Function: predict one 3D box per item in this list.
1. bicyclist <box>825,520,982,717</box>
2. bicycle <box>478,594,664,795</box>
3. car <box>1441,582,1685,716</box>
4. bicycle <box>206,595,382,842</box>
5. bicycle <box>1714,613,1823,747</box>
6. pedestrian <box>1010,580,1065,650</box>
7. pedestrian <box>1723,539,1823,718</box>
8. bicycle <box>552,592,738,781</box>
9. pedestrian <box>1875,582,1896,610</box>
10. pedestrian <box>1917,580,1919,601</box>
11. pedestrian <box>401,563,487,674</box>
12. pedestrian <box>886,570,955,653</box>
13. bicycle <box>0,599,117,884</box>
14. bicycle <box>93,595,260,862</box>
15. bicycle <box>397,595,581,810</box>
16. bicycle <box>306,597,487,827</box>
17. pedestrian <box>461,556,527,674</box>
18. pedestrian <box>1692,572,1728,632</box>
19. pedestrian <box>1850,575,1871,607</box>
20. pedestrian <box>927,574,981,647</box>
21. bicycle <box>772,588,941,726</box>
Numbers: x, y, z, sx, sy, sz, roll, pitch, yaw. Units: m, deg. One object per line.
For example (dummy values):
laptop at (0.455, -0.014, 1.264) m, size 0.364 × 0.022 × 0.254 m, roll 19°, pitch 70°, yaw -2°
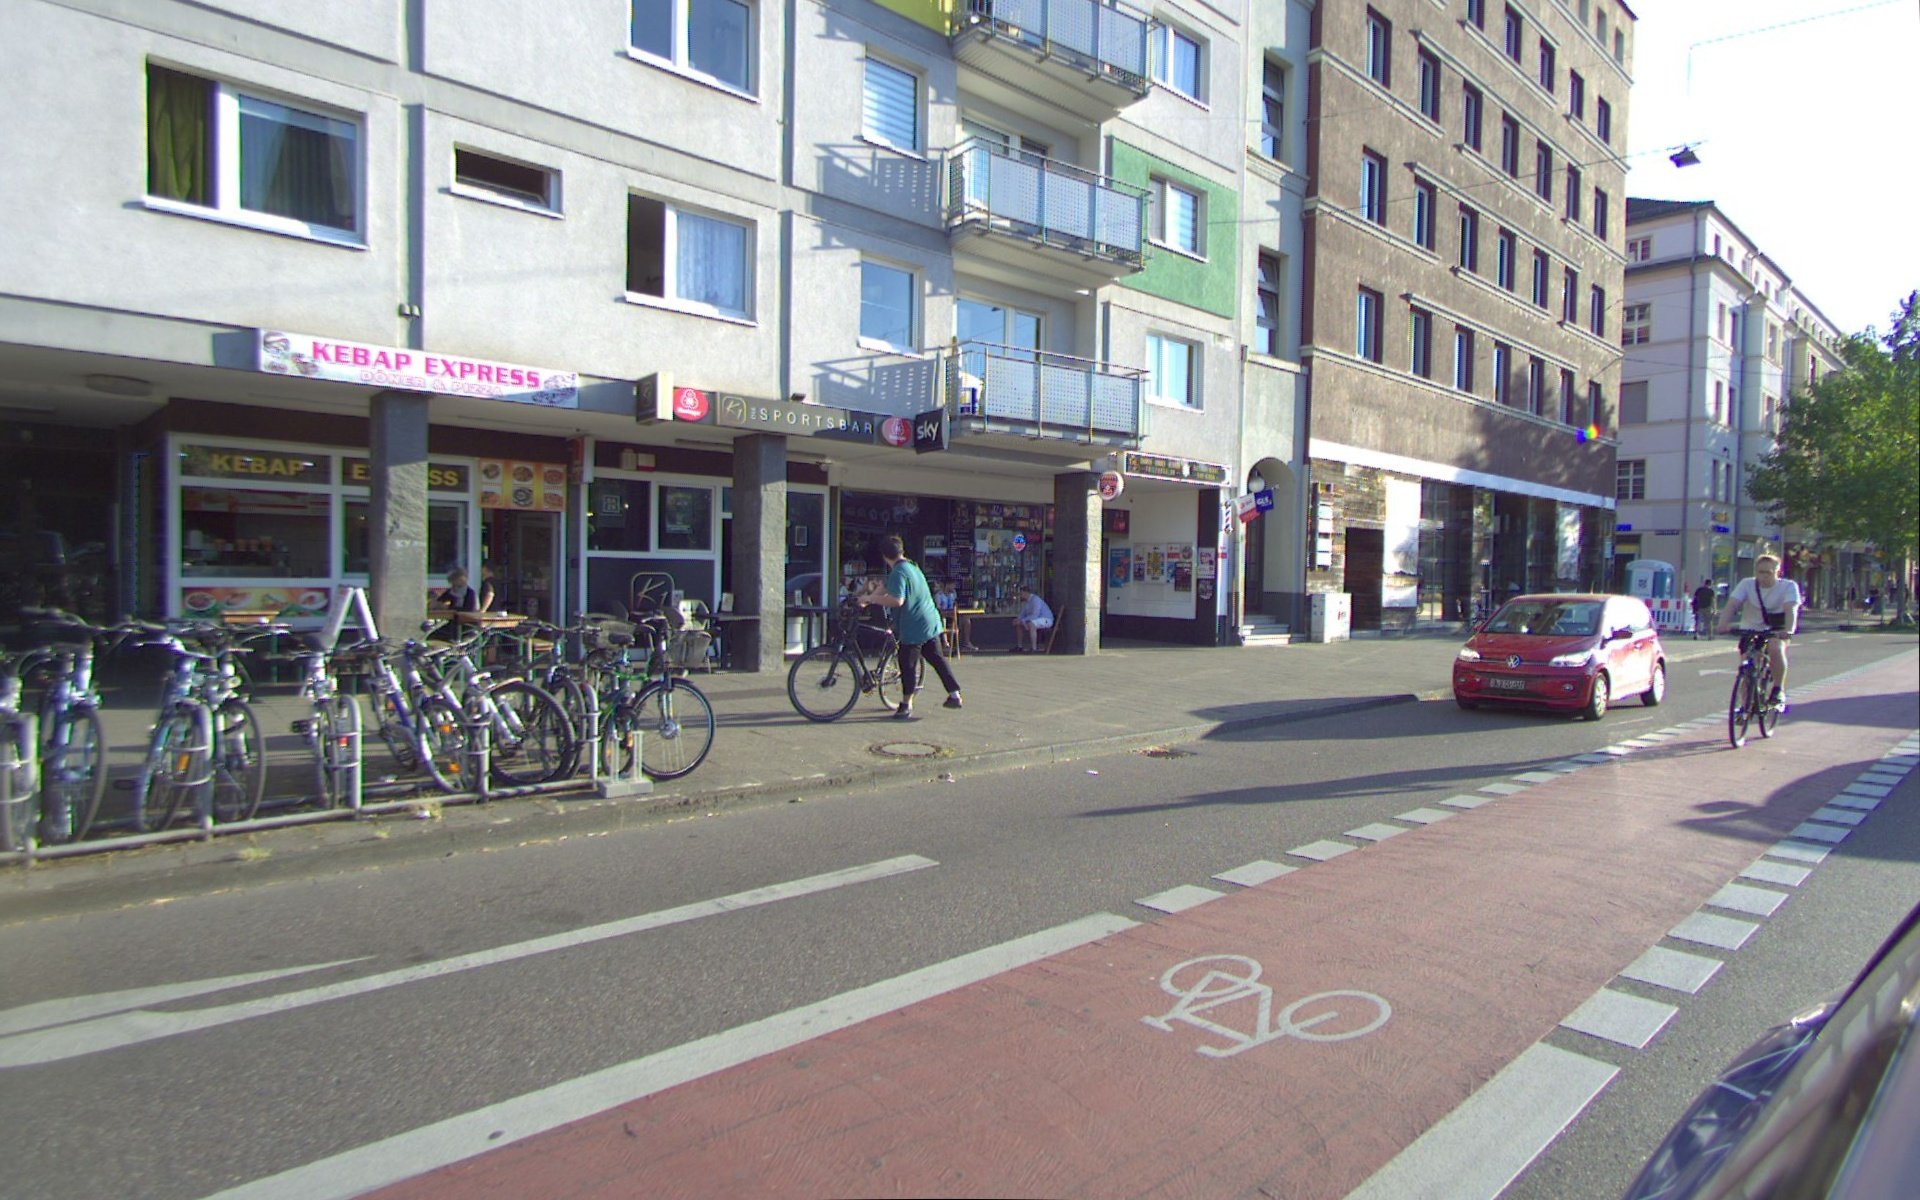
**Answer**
bicyclist at (-0.562, 0.164, 10.017) m, size 1.357 × 1.830 × 0.746 m, roll 0°, pitch 1°, yaw -24°
bicycle at (-2.834, 0.590, 7.245) m, size 0.558 × 1.139 × 1.870 m, roll 0°, pitch 4°, yaw -43°
car at (7.868, 0.537, 13.106) m, size 3.477 × 1.499 × 1.686 m, roll -1°, pitch 0°, yaw -41°
bicycle at (-4.043, 0.609, 6.077) m, size 0.558 × 1.139 × 1.870 m, roll 0°, pitch 4°, yaw -43°
bicycle at (7.965, 0.731, 9.945) m, size 1.817 × 1.173 × 0.529 m, roll -1°, pitch 1°, yaw -41°
pedestrian at (1.335, 0.246, 17.370) m, size 0.715 × 1.166 × 0.605 m, roll 0°, pitch 1°, yaw -41°
pedestrian at (8.003, 0.260, 9.958) m, size 0.828 × 1.669 × 0.639 m, roll 0°, pitch 0°, yaw -41°
bicycle at (-2.428, 0.573, 7.642) m, size 0.558 × 1.139 × 1.870 m, roll 0°, pitch 4°, yaw -43°
pedestrian at (49.194, -0.219, 53.786) m, size 0.908 × 1.457 × 0.727 m, roll 0°, pitch 1°, yaw -42°
pedestrian at (66.362, -0.671, 69.911) m, size 0.350 × 1.457 × 0.311 m, roll 0°, pitch 1°, yaw -33°
pedestrian at (-6.258, 0.207, 12.313) m, size 0.634 × 1.289 × 0.861 m, roll 1°, pitch 1°, yaw -3°
pedestrian at (-0.645, 0.173, 16.622) m, size 0.937 × 1.311 × 0.646 m, roll 0°, pitch 1°, yaw -38°
bicycle at (-4.847, 0.638, 5.293) m, size 0.558 × 1.139 × 1.870 m, roll 0°, pitch 4°, yaw -43°
bicycle at (-4.442, 0.611, 5.684) m, size 0.558 × 1.139 × 1.870 m, roll 0°, pitch 4°, yaw -43°
bicycle at (-3.242, 0.607, 6.860) m, size 0.558 × 1.139 × 1.870 m, roll 0°, pitch 4°, yaw -43°
bicycle at (-3.652, 0.623, 6.478) m, size 0.558 × 1.139 × 1.870 m, roll 0°, pitch 4°, yaw -43°
pedestrian at (-5.593, 0.164, 12.165) m, size 0.456 × 1.375 × 0.631 m, roll 1°, pitch 1°, yaw 8°
pedestrian at (20.578, 0.033, 27.780) m, size 0.869 × 1.616 × 0.602 m, roll 0°, pitch 1°, yaw -41°
pedestrian at (48.735, -0.494, 54.791) m, size 0.908 × 1.697 × 0.727 m, roll 0°, pitch 1°, yaw -42°
pedestrian at (-0.103, 0.171, 17.811) m, size 0.635 × 1.247 × 0.727 m, roll 0°, pitch 1°, yaw -39°
bicycle at (-0.979, 0.503, 10.034) m, size 0.564 × 1.191 × 1.850 m, roll 4°, pitch 4°, yaw 35°
